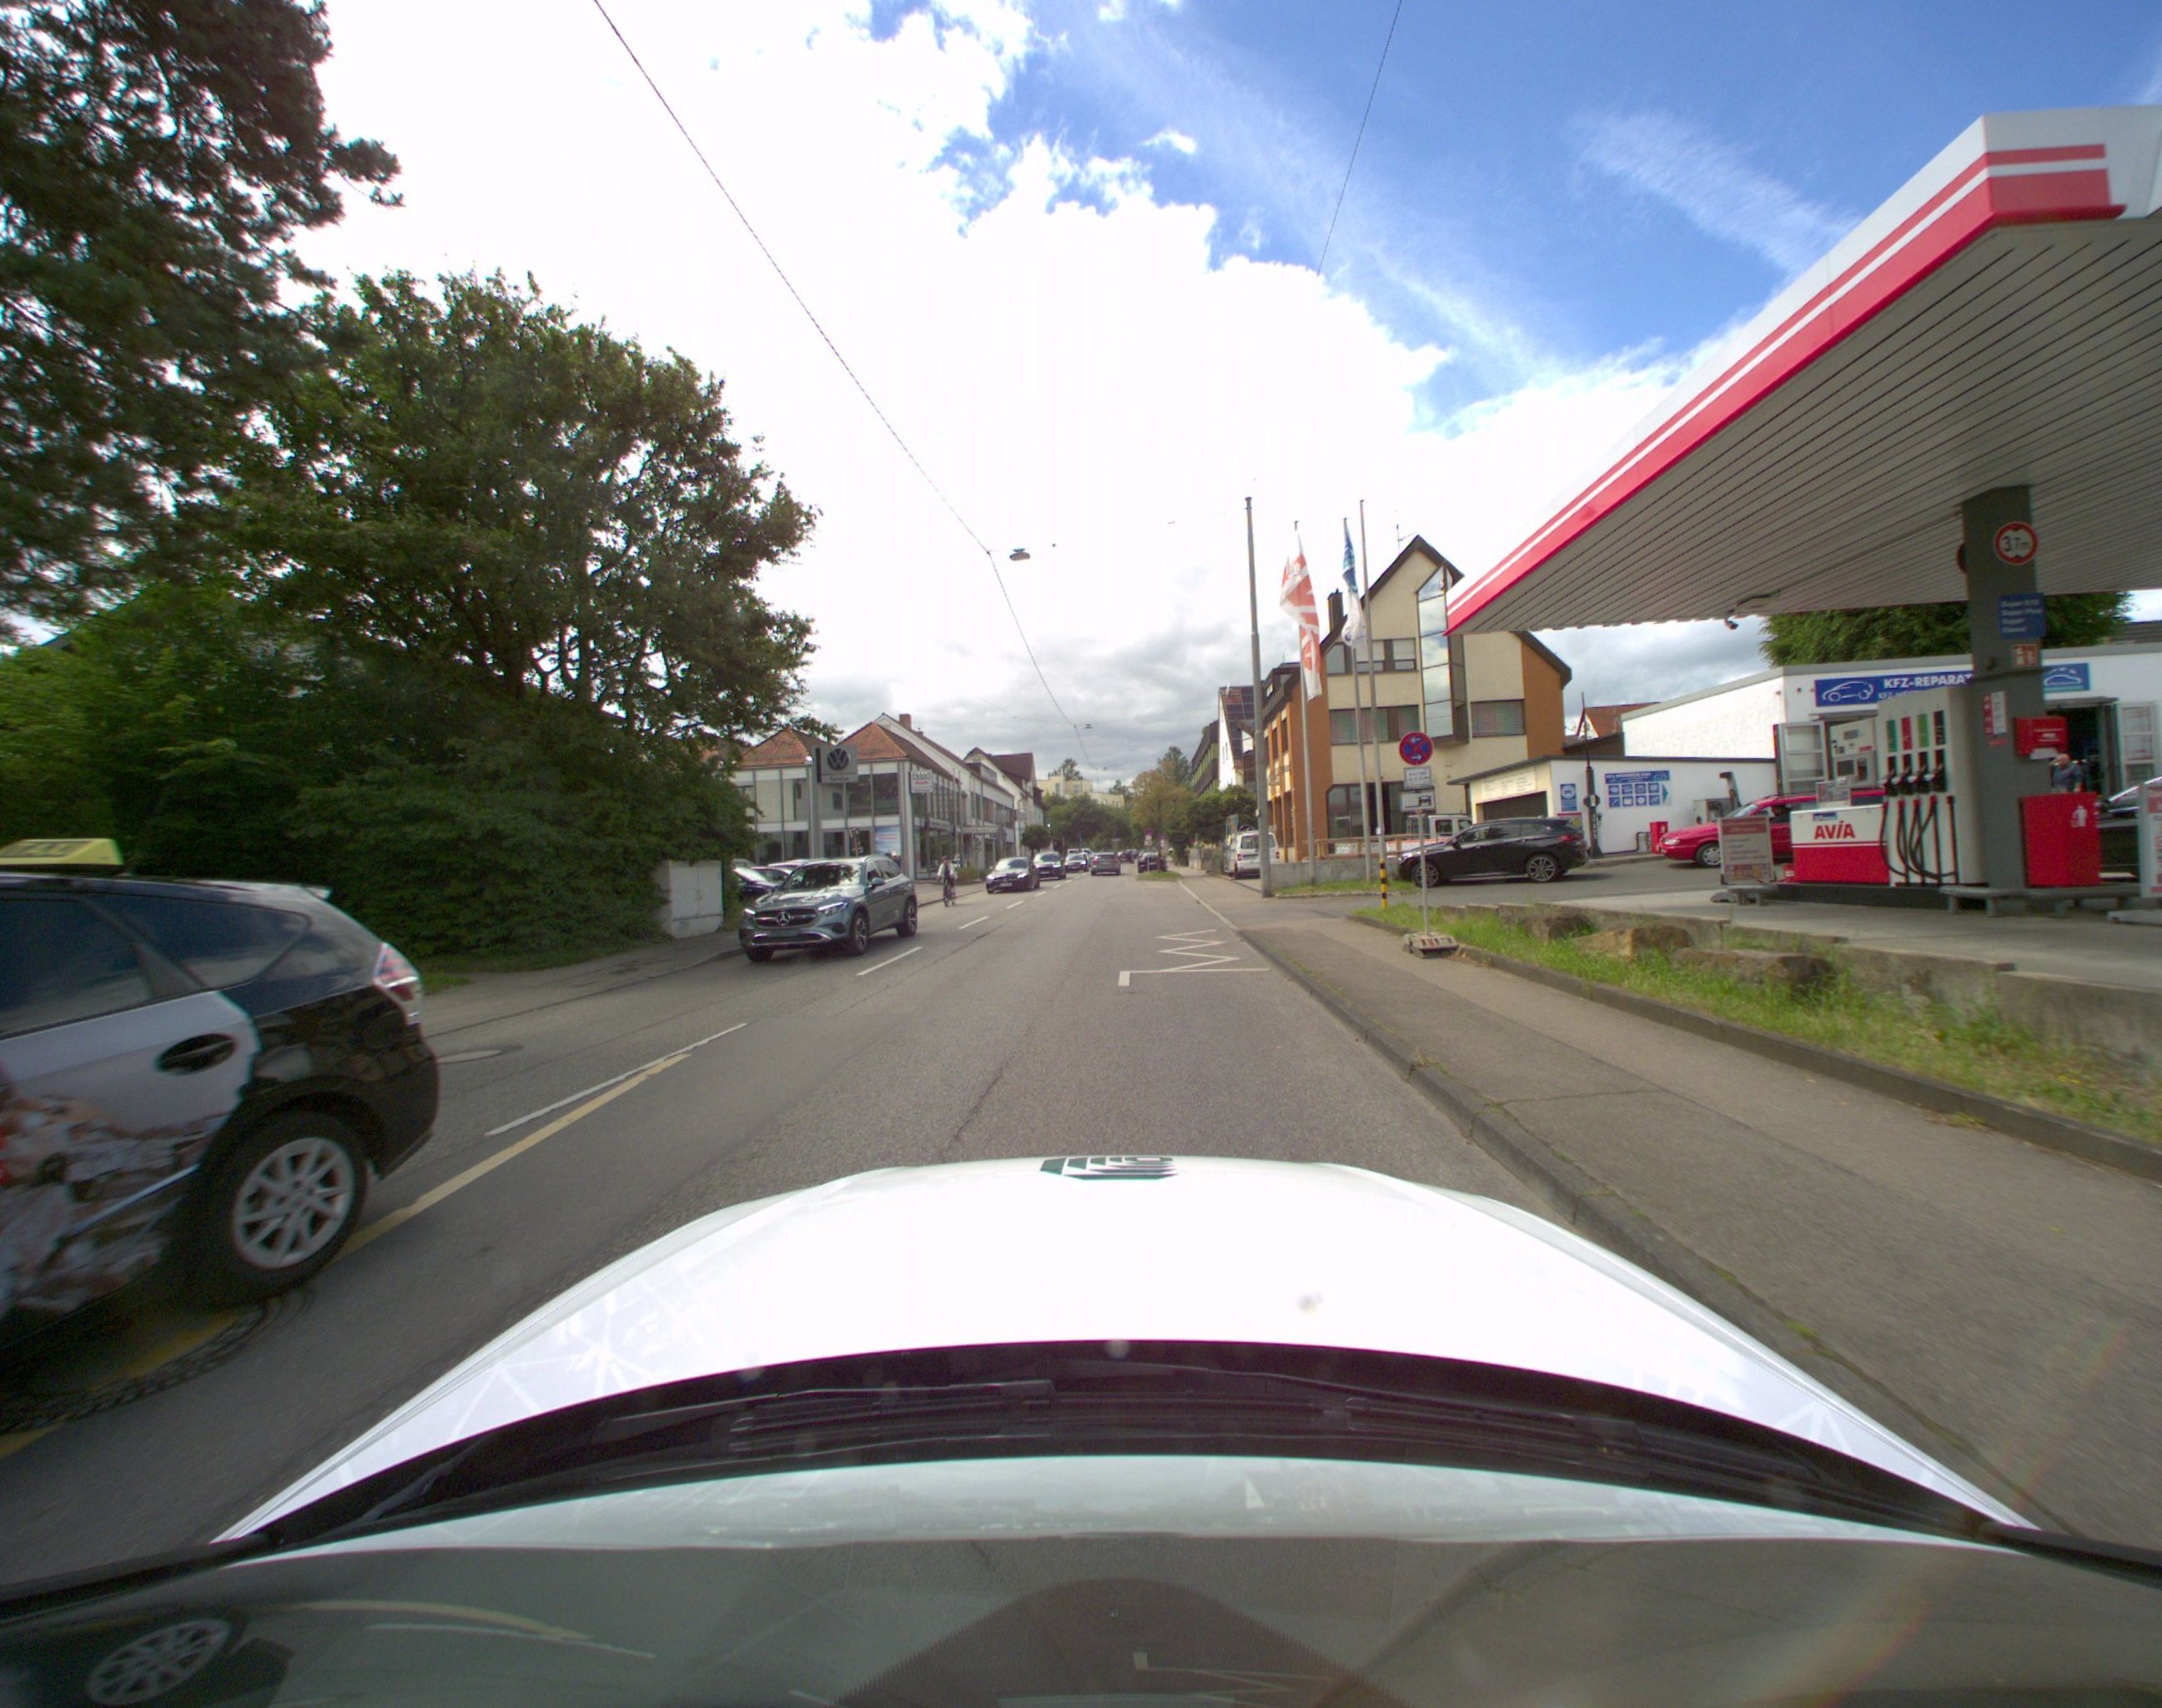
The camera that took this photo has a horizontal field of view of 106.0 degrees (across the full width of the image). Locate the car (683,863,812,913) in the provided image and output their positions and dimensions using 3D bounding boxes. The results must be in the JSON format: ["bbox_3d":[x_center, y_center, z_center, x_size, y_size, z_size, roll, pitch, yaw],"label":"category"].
[{"bbox_3d":[-11.719,1.168,28.777,3.725,1.518,1.730,-3,0,2],"label":"car"}]

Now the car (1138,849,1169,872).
[{"bbox_3d":[4.951,0.430,56.432,1.975,1.448,4.756,-3,-1,4],"label":"car"}]

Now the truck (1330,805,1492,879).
[{"bbox_3d":[12.142,-0.442,30.292,5.065,2.457,2.360,-2,1,3],"label":"truck"}]

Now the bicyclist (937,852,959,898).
[{"bbox_3d":[-4.361,0.687,26.696,0.467,1.449,0.865,-4,0,1],"label":"bicyclist"}]

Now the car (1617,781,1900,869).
[{"bbox_3d":[15.006,-0.579,18.416,4.552,1.717,1.835,-2,-1,23],"label":"car"}]

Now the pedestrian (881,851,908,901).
[{"bbox_3d":[-6.654,0.777,29.067,0.680,1.737,0.869,-1,-1,3],"label":"pedestrian"}]

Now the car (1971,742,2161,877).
[{"bbox_3d":[13.737,-0.561,9.643,1.622,1.608,4.578,-2,-1,5],"label":"car"}]

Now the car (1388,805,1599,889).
[{"bbox_3d":[10.075,-0.140,20.088,4.263,1.630,1.646,-6,0,39],"label":"car"}]

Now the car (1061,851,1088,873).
[{"bbox_3d":[-0.450,0.616,62.794,1.824,1.523,4.172,-3,-1,1],"label":"car"}]

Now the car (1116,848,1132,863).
[{"bbox_3d":[4.684,0.167,89.569,1.609,1.523,3.570,-3,-1,1],"label":"car"}]

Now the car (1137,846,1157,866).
[{"bbox_3d":[6.139,0.202,75.657,1.681,1.666,4.469,-3,-1,6],"label":"car"}]

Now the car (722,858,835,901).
[{"bbox_3d":[-11.617,0.966,31.420,3.725,1.560,1.535,0,0,2],"label":"car"}]

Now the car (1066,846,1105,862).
[{"bbox_3d":[0.666,-0.014,119.175,5.166,1.993,2.120,-5,0,22],"label":"car"}]

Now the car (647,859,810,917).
[{"bbox_3d":[-11.072,1.043,25.794,4.270,1.641,1.906,-1,0,4],"label":"car"}]

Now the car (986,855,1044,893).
[{"bbox_3d":[-2.803,0.826,35.398,1.732,1.429,4.529,-4,0,4],"label":"car"}]

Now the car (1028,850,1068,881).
[{"bbox_3d":[-1.908,0.606,47.794,1.823,1.630,4.325,-3,0,3],"label":"car"}]

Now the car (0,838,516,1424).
[{"bbox_3d":[-3.777,0.769,1.785,1.860,1.527,4.526,-3,0,-1],"label":"car"}]

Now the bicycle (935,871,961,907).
[{"bbox_3d":[-4.319,1.118,26.565,0.452,1.087,1.870,-4,0,1],"label":"bicycle"}]

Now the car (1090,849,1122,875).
[{"bbox_3d":[1.676,0.569,53.331,1.948,1.523,4.331,-2,-2,3],"label":"car"}]

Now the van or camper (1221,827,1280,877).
[{"bbox_3d":[7.405,-0.056,36.035,1.859,2.032,4.551,-1,-1,3],"label":"van or camper"}]

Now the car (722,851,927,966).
[{"bbox_3d":[-4.382,0.840,14.798,1.857,1.617,4.541,-4,1,5],"label":"car"}]

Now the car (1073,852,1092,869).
[{"bbox_3d":[0.174,0.673,83.212,1.683,1.579,3.803,-3,-1,3],"label":"car"}]

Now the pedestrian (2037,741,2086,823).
[{"bbox_3d":[23.178,-1.675,19.263,0.688,1.845,0.667,-1,-1,-40],"label":"pedestrian"}]
